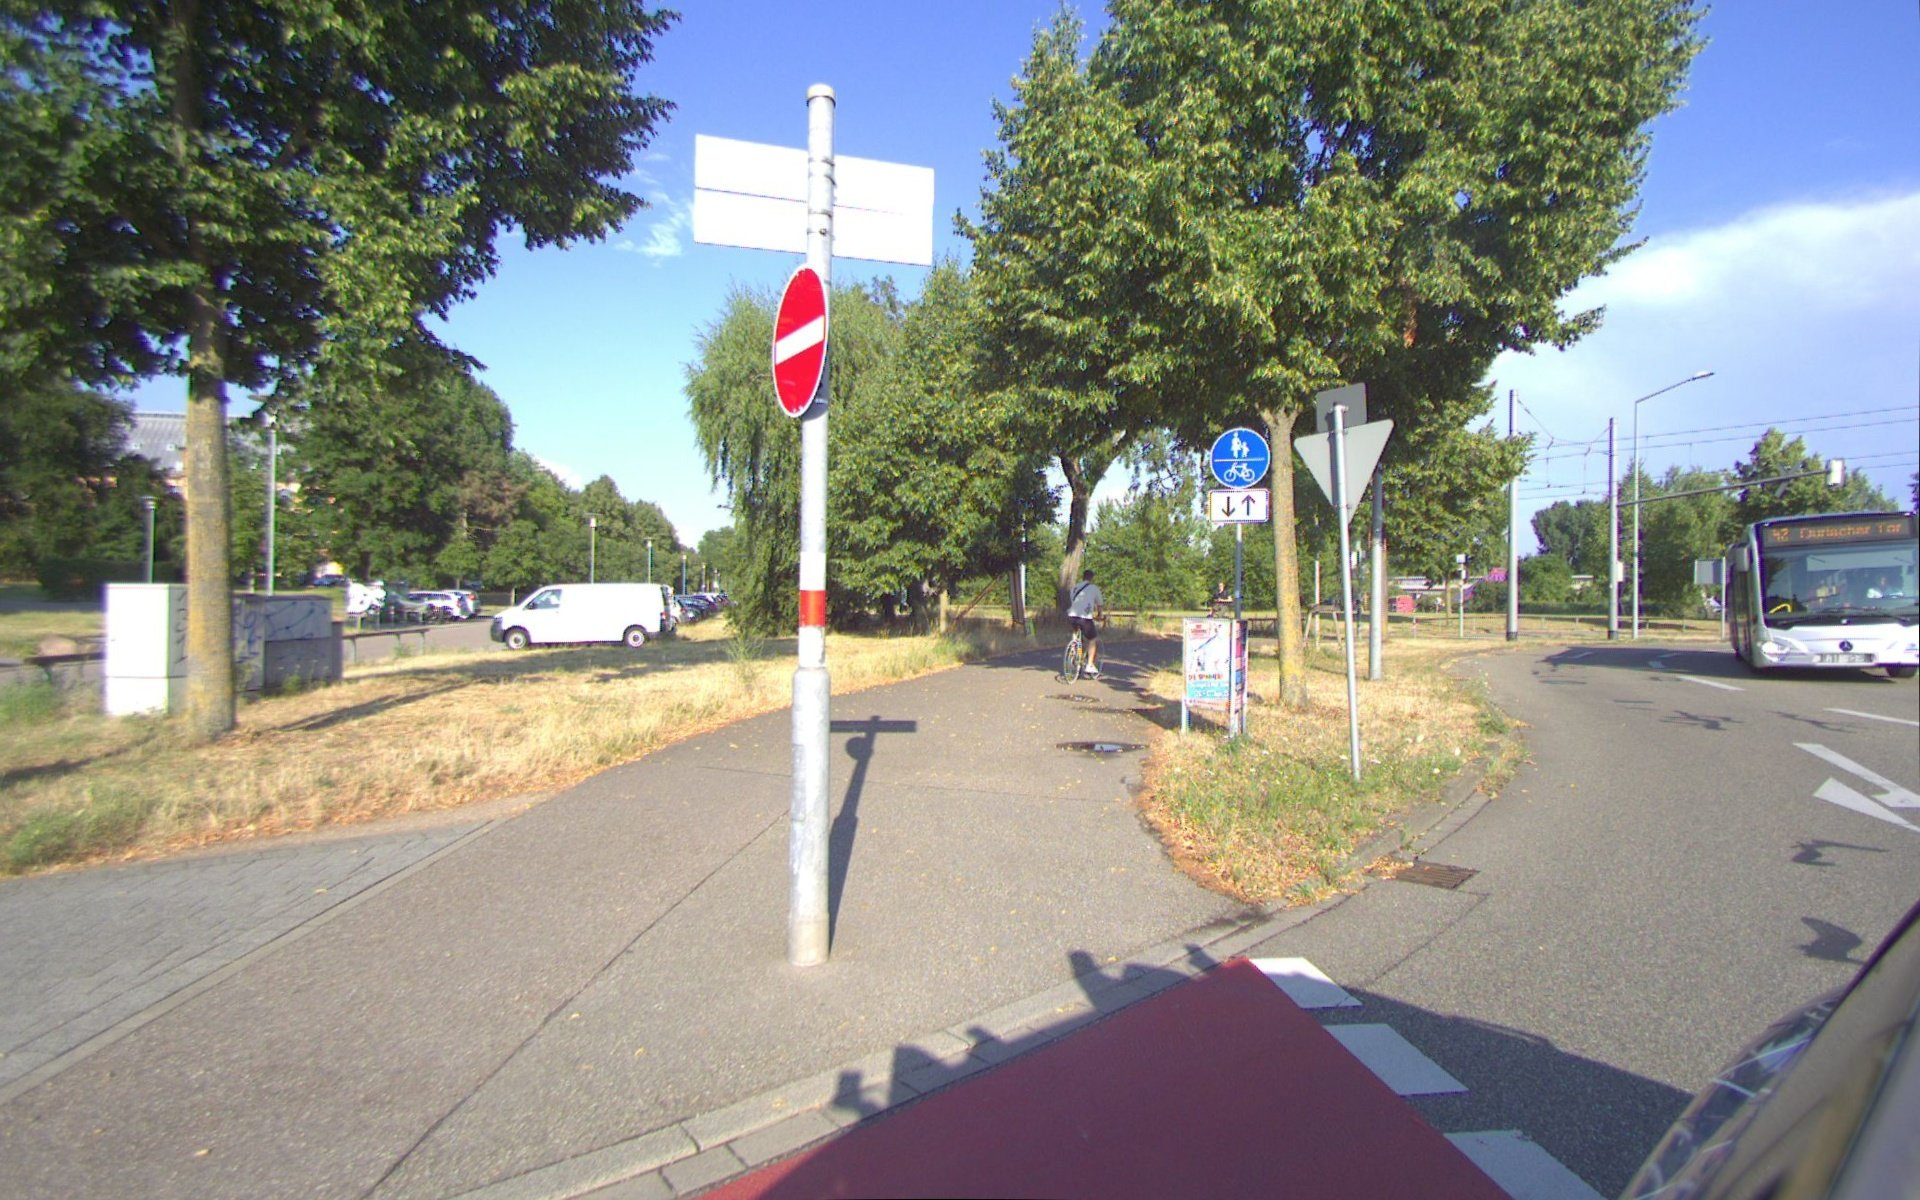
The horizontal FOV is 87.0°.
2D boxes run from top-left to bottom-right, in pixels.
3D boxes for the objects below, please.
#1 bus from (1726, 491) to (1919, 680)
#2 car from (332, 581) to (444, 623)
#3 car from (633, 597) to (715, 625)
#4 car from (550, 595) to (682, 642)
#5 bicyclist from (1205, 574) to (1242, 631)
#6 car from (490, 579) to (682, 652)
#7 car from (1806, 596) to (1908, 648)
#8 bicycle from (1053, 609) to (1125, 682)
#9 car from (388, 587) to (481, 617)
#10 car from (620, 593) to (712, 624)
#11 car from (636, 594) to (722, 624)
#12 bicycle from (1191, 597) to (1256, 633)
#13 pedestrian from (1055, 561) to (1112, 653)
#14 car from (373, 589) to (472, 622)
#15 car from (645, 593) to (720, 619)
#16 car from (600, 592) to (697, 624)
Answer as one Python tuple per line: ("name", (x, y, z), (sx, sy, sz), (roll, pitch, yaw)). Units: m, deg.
("bus", (18.588, -0.260, 21.966), (2.649, 3.100, 12.025), (0, 0, 35))
("car", (-25.140, 0.077, 44.630), (3.917, 1.816, 1.897), (0, 0, -12))
("car", (-14.900, 0.548, 52.891), (3.917, 1.416, 1.859), (0, 0, -9))
("car", (-11.243, 0.578, 33.320), (3.917, 1.461, 1.874), (0, 0, -10))
("bicyclist", (8.520, 0.075, 32.767), (0.919, 1.824, 0.729), (0, 0, -23))
("car", (-11.175, 0.439, 30.641), (5.111, 2.039, 2.273), (-1, 0, -10))
("car", (28.684, 0.653, 32.323), (3.931, 1.543, 1.997), (0, 0, -41))
("bicycle", (2.105, 0.698, 16.326), (0.529, 1.069, 1.895), (0, 0, 27))
("car", (-27.414, 0.108, 52.958), (3.917, 1.549, 2.004), (0, 0, -12))
("car", (-13.652, 0.383, 47.201), (3.917, 1.416, 1.859), (0, 0, -9))
("car", (-13.930, 0.445, 50.319), (3.917, 1.416, 1.859), (0, 0, -9))
("bicycle", (8.530, 0.472, 32.767), (2.081, 1.137, 0.642), (0, 0, -23))
("pedestrian", (1.972, 0.093, 16.122), (0.647, 1.409, 0.760), (2, 1, 29))
("car", (-26.329, 0.272, 49.705), (3.917, 1.549, 2.004), (0, 0, -12))
("car", (-15.677, 0.332, 57.397), (3.917, 1.416, 1.859), (0, 0, -9))
("car", (-13.788, 0.349, 44.980), (3.917, 1.416, 1.859), (0, 0, -9))
